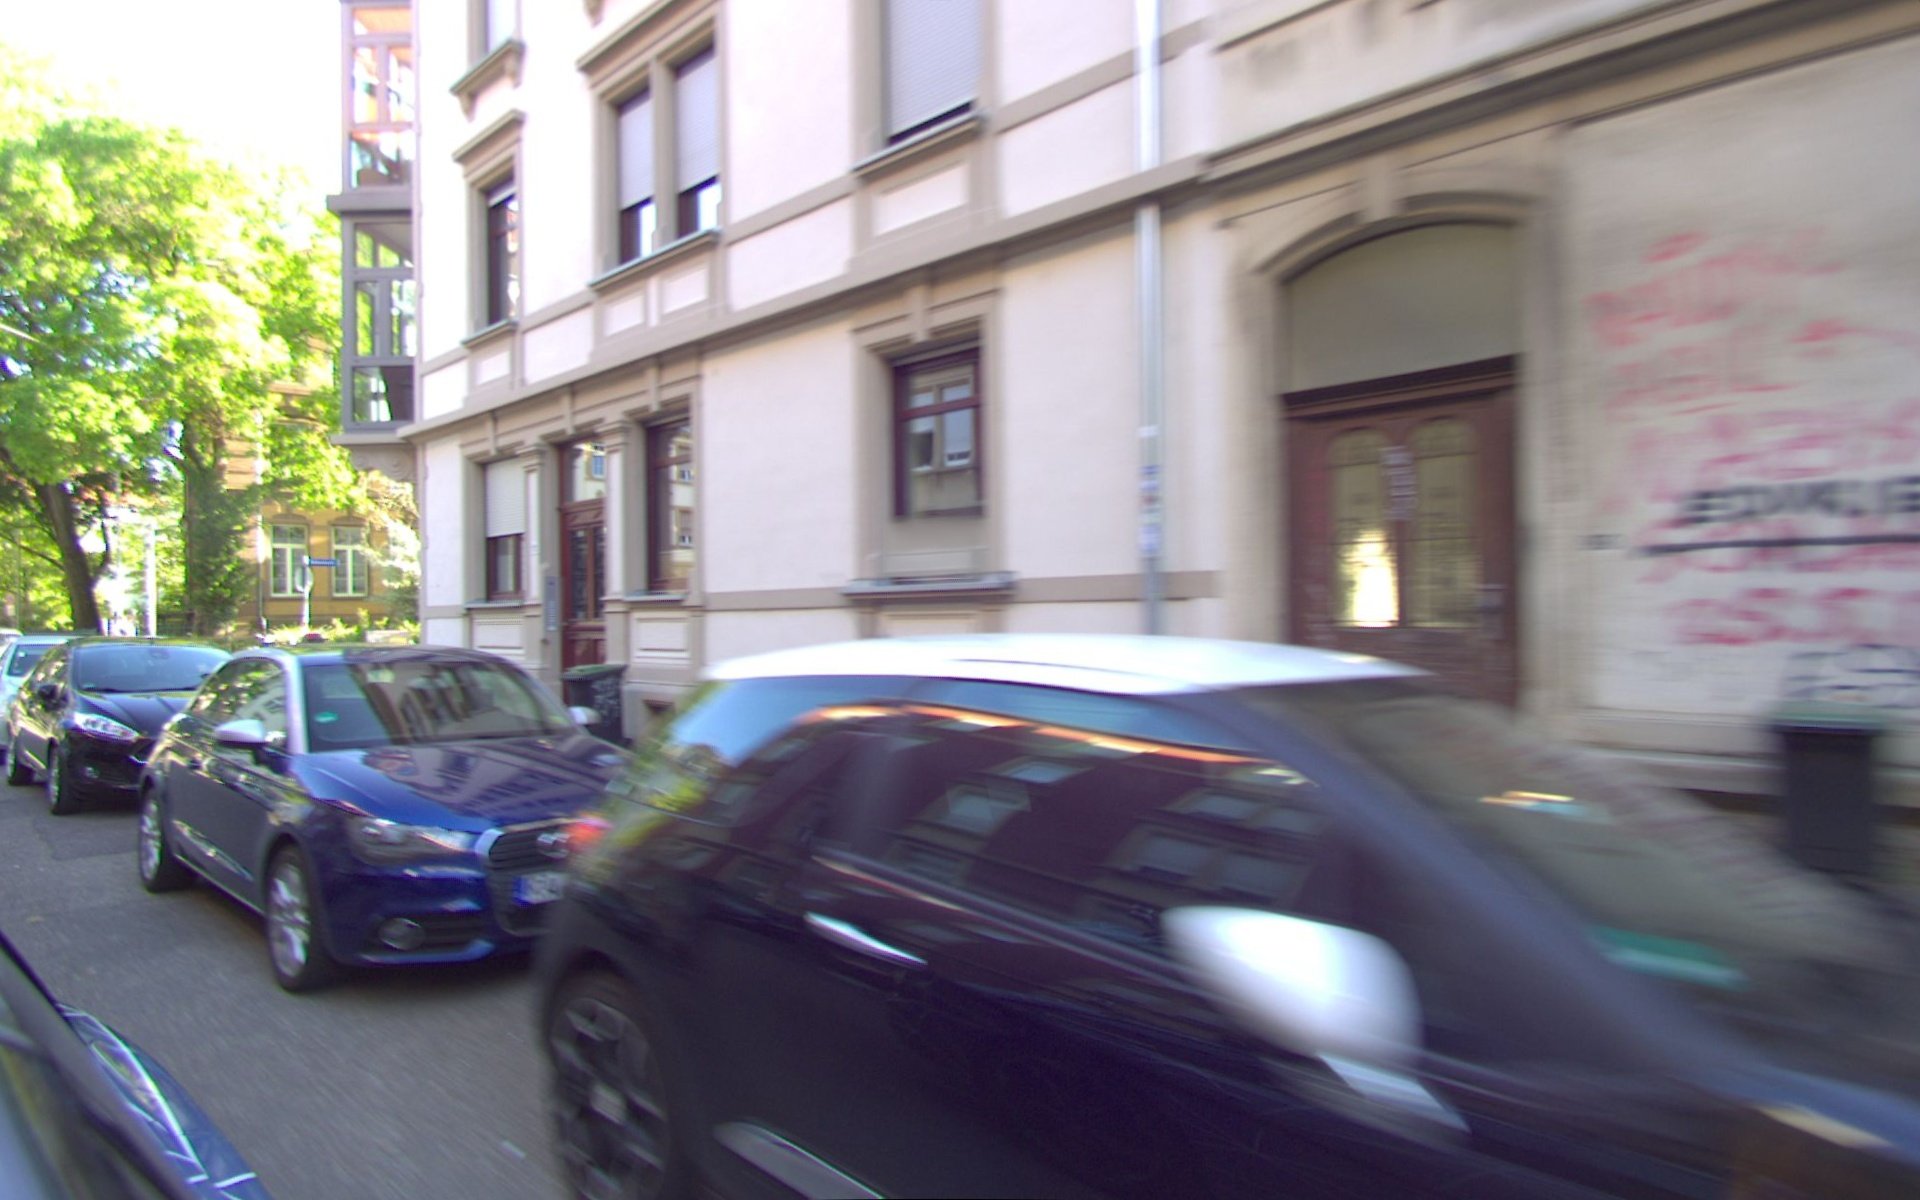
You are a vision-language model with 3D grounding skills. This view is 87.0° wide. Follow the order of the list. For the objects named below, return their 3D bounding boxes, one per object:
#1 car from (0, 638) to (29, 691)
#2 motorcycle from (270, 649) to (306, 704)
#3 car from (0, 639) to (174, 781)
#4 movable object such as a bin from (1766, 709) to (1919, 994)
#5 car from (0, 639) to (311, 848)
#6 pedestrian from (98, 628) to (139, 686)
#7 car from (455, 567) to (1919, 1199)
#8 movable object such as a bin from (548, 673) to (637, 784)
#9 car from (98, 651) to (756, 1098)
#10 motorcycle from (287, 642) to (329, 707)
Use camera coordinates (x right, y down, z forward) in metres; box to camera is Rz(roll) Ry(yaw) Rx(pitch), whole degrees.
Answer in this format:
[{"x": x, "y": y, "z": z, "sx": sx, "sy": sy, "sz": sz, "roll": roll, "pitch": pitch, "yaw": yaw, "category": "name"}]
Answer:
[{"x": -30.358, "y": 1.945, "z": 31.381, "sx": 3.950, "sy": 1.570, "sz": 1.688, "roll": -1, "pitch": -5, "yaw": 41, "category": "car"}, {"x": -14.817, "y": 1.658, "z": 22.337, "sx": 0.630, "sy": 1.098, "sz": 1.875, "roll": 1, "pitch": -1, "yaw": -33, "category": "motorcycle"}, {"x": -11.384, "y": 1.262, "z": 12.758, "sx": 3.933, "sy": 1.494, "sz": 1.761, "roll": -2, "pitch": -2, "yaw": 44, "category": "car"}, {"x": 3.512, "y": 0.913, "z": 3.789, "sx": 0.733, "sy": 0.927, "sz": 0.606, "roll": -2, "pitch": -2, "yaw": 41, "category": "movable object such as a bin"}, {"x": -7.586, "y": 1.126, "z": 9.339, "sx": 3.741, "sy": 1.494, "sz": 1.762, "roll": -2, "pitch": -2, "yaw": 42, "category": "car"}, {"x": -26.019, "y": 1.757, "z": 31.289, "sx": 1.006, "sy": 1.759, "sz": 0.794, "roll": -2, "pitch": -2, "yaw": 41, "category": "pedestrian"}, {"x": 0.648, "y": 0.775, "z": 2.107, "sx": 3.836, "sy": 1.467, "sz": 1.626, "roll": -2, "pitch": -5, "yaw": 40, "category": "car"}, {"x": -3.515, "y": 1.206, "z": 9.683, "sx": 0.511, "sy": 0.963, "sz": 0.615, "roll": -2, "pitch": 0, "yaw": 41, "category": "movable object such as a bin"}, {"x": -2.950, "y": 1.012, "z": 5.285, "sx": 3.739, "sy": 1.414, "sz": 1.763, "roll": -2, "pitch": -2, "yaw": 40, "category": "car"}, {"x": -13.291, "y": 1.493, "z": 20.665, "sx": 0.603, "sy": 1.205, "sz": 2.050, "roll": 0, "pitch": -1, "yaw": -29, "category": "motorcycle"}]
